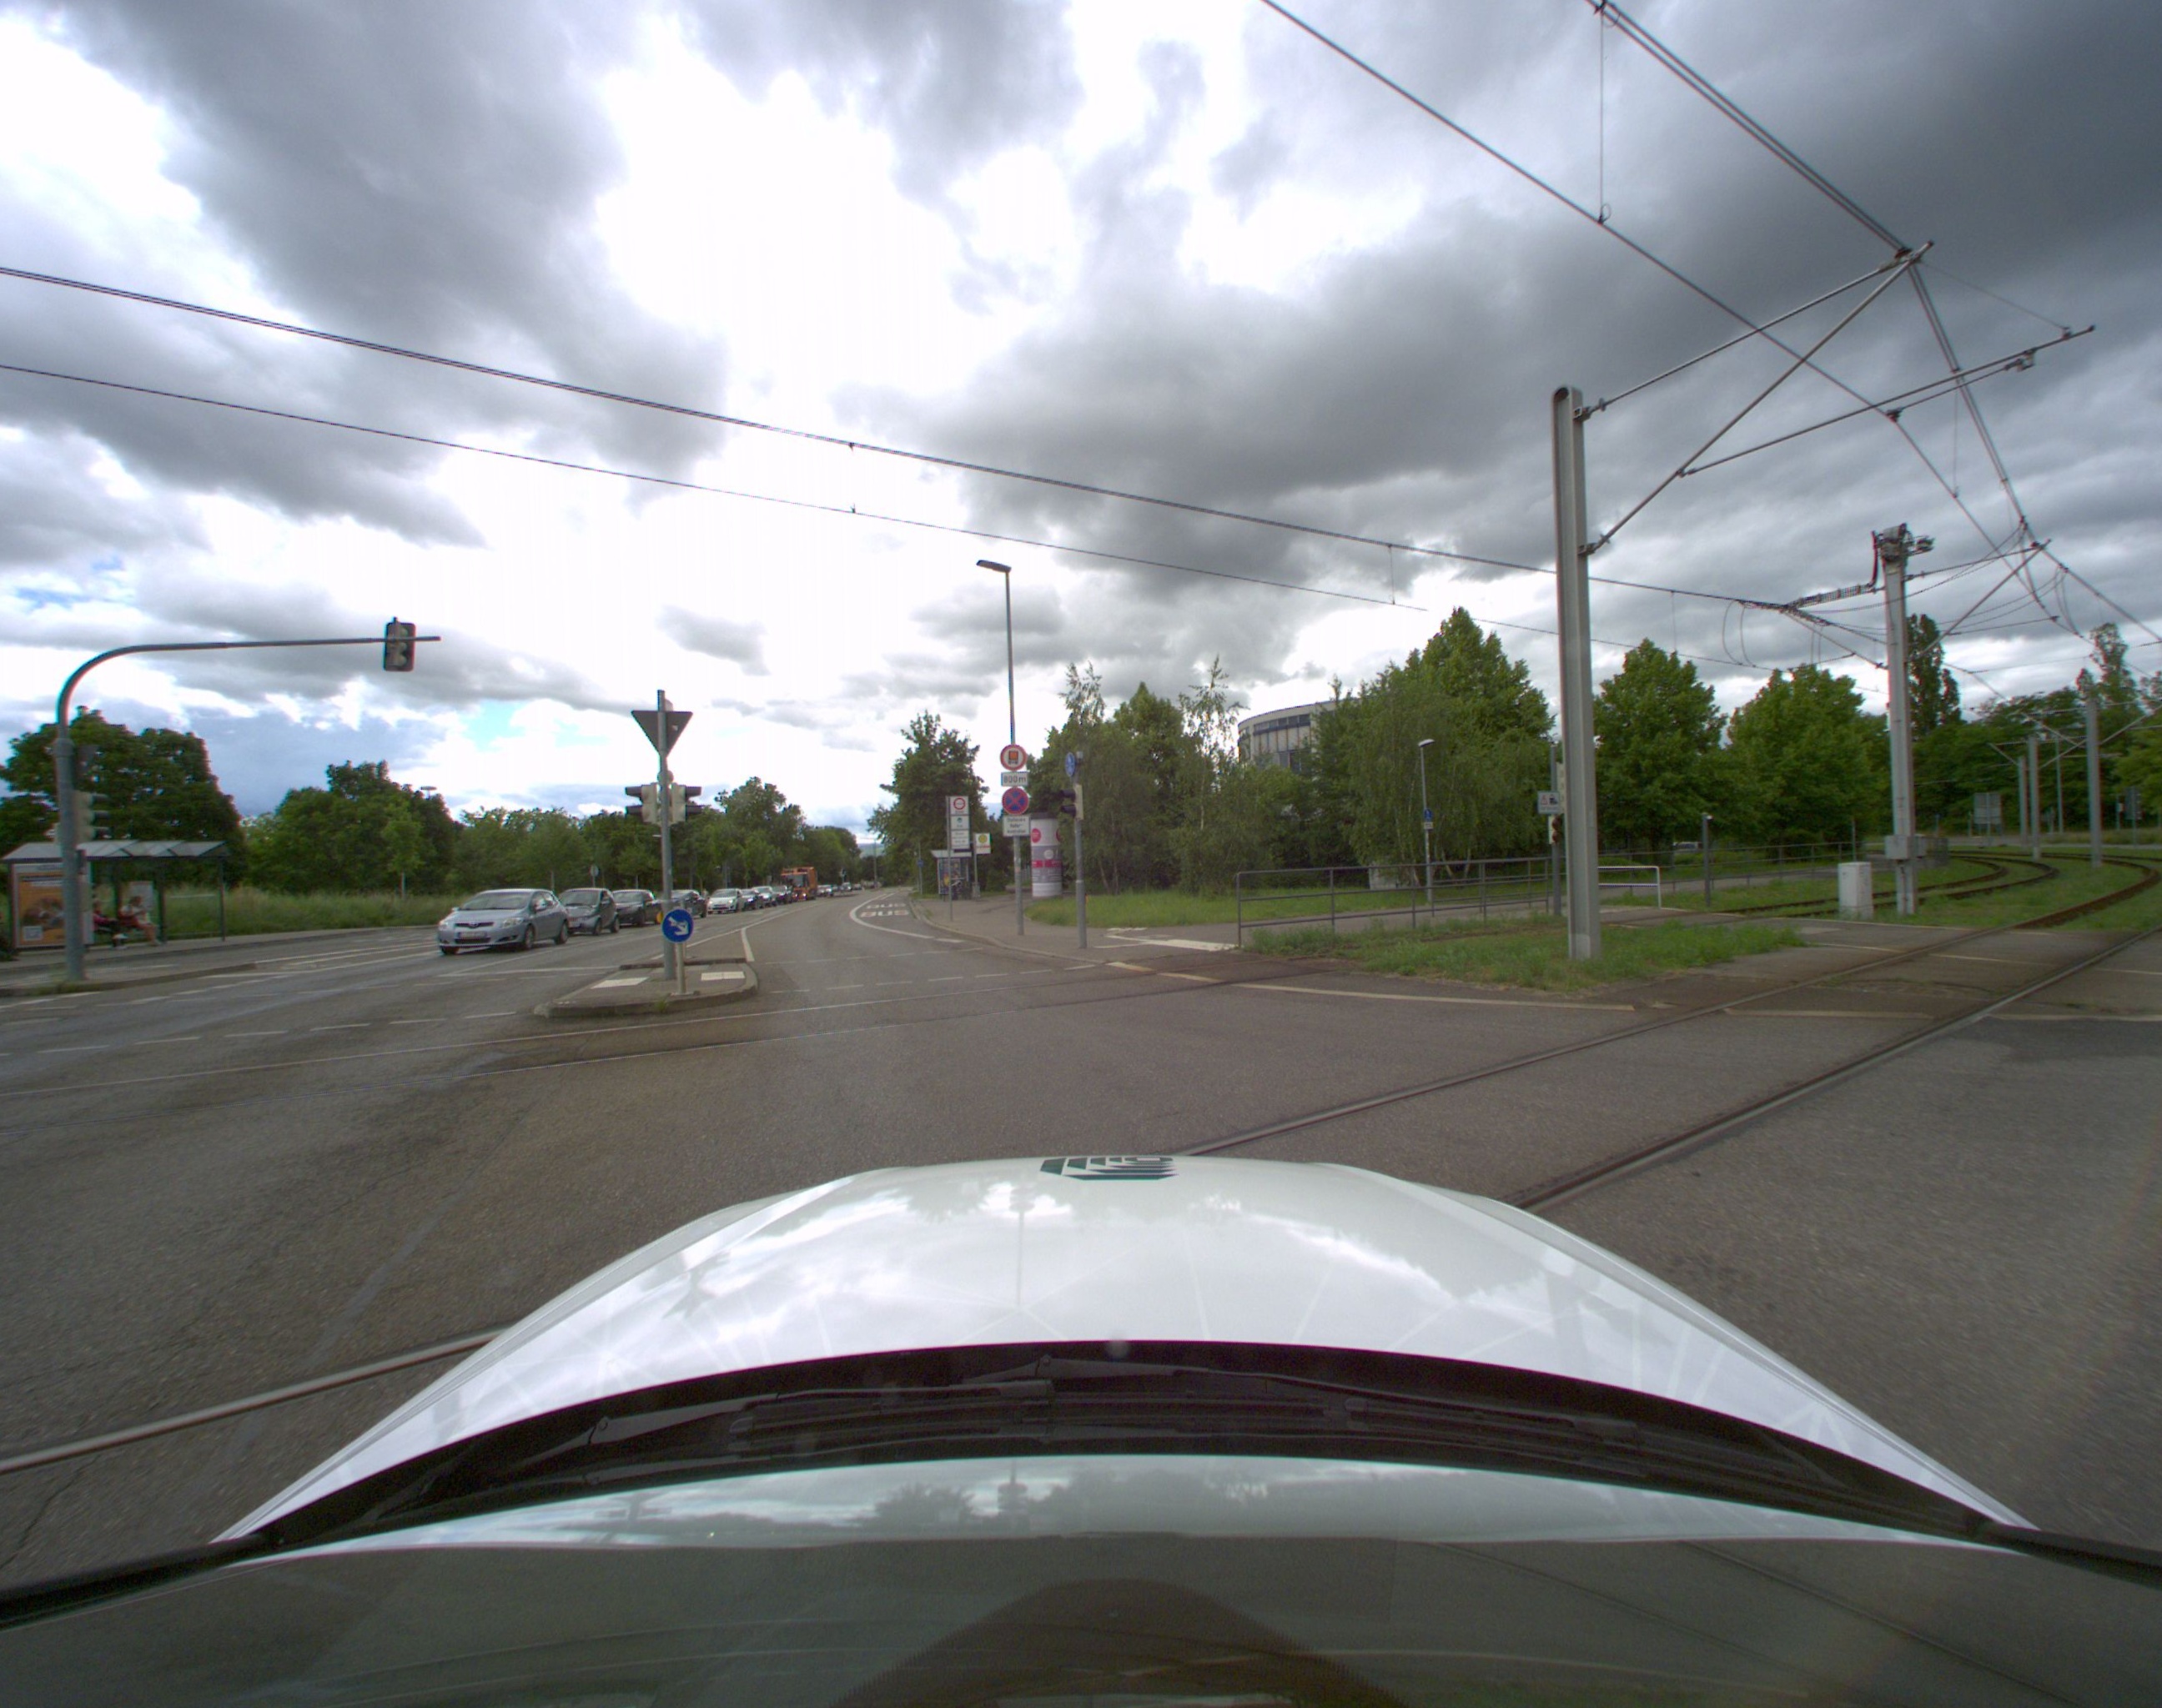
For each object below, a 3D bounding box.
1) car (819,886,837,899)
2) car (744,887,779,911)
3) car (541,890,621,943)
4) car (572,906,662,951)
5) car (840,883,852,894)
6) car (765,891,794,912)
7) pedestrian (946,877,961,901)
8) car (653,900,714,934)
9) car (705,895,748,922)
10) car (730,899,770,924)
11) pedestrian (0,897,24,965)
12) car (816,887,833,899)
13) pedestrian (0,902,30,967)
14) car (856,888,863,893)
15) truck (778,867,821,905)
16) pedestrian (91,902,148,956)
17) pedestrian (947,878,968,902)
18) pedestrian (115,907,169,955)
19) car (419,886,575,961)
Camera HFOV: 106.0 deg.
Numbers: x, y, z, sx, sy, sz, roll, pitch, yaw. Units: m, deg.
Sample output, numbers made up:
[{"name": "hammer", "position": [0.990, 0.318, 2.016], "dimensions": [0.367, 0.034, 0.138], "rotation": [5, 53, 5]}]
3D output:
[{"name": "car", "position": [-33.597, 5.114, 108.209], "dimensions": [1.849, 1.520, 4.792], "rotation": [-5, -1, -13]}, {"name": "car", "position": [-23.922, 3.353, 61.150], "dimensions": [1.732, 1.585, 4.204], "rotation": [-3, -1, -13]}, {"name": "car", "position": [-16.360, 2.014, 26.781], "dimensions": [1.431, 1.527, 2.760], "rotation": [-3, -1, -15]}, {"name": "car", "position": [-17.611, 2.788, 31.120], "dimensions": [1.802, 1.332, 4.359], "rotation": [-3, -1, -14]}, {"name": "car", "position": [-43.934, 6.452, 152.376], "dimensions": [1.849, 1.803, 4.628], "rotation": [-5, -1, -13]}, {"name": "car", "position": [-25.374, 3.985, 68.602], "dimensions": [1.641, 1.585, 4.042], "rotation": [-3, -1, -13]}, {"name": "pedestrian", "position": [-7.148, 1.950, 45.635], "dimensions": [0.728, 1.316, 0.587], "rotation": [-2, -1, -11]}, {"name": "car", "position": [-18.772, 2.944, 38.591], "dimensions": [1.641, 1.332, 4.042], "rotation": [-3, -1, -13]}, {"name": "car", "position": [-21.208, 3.256, 48.848], "dimensions": [1.641, 1.390, 3.745], "rotation": [-3, -1, -13]}, {"name": "car", "position": [-22.253, 3.810, 54.858], "dimensions": [1.641, 1.390, 4.863], "rotation": [-3, -1, -13]}, {"name": "pedestrian", "position": [-27.264, 1.953, 20.481], "dimensions": [0.545, 1.670, 0.641], "rotation": [-3, -1, 15]}, {"name": "car", "position": [-31.672, 4.762, 100.659], "dimensions": [1.549, 1.331, 3.637], "rotation": [-5, -1, -13]}, {"name": "pedestrian", "position": [-23.548, 1.749, 17.685], "dimensions": [0.551, 1.363, 0.769], "rotation": [-2, -1, -20]}, {"name": "car", "position": [-62.803, 10.398, 230.664], "dimensions": [1.773, 1.305, 3.982], "rotation": [-3, -2, -13]}, {"name": "truck", "position": [-28.592, 3.246, 83.217], "dimensions": [2.708, 3.487, 9.952], "rotation": [-3, -1, -12]}, {"name": "pedestrian", "position": [-25.187, 1.959, 21.338], "dimensions": [0.774, 1.330, 0.547], "rotation": [-2, -1, -21]}, {"name": "pedestrian", "position": [-6.743, 1.946, 44.416], "dimensions": [0.762, 1.253, 0.781], "rotation": [-4, -2, 36]}, {"name": "pedestrian", "position": [-25.725, 2.101, 22.323], "dimensions": [0.774, 1.227, 0.547], "rotation": [-2, -1, -21]}, {"name": "car", "position": [-14.476, 1.650, 20.496], "dimensions": [1.831, 1.536, 4.195], "rotation": [-3, -1, -16]}]
